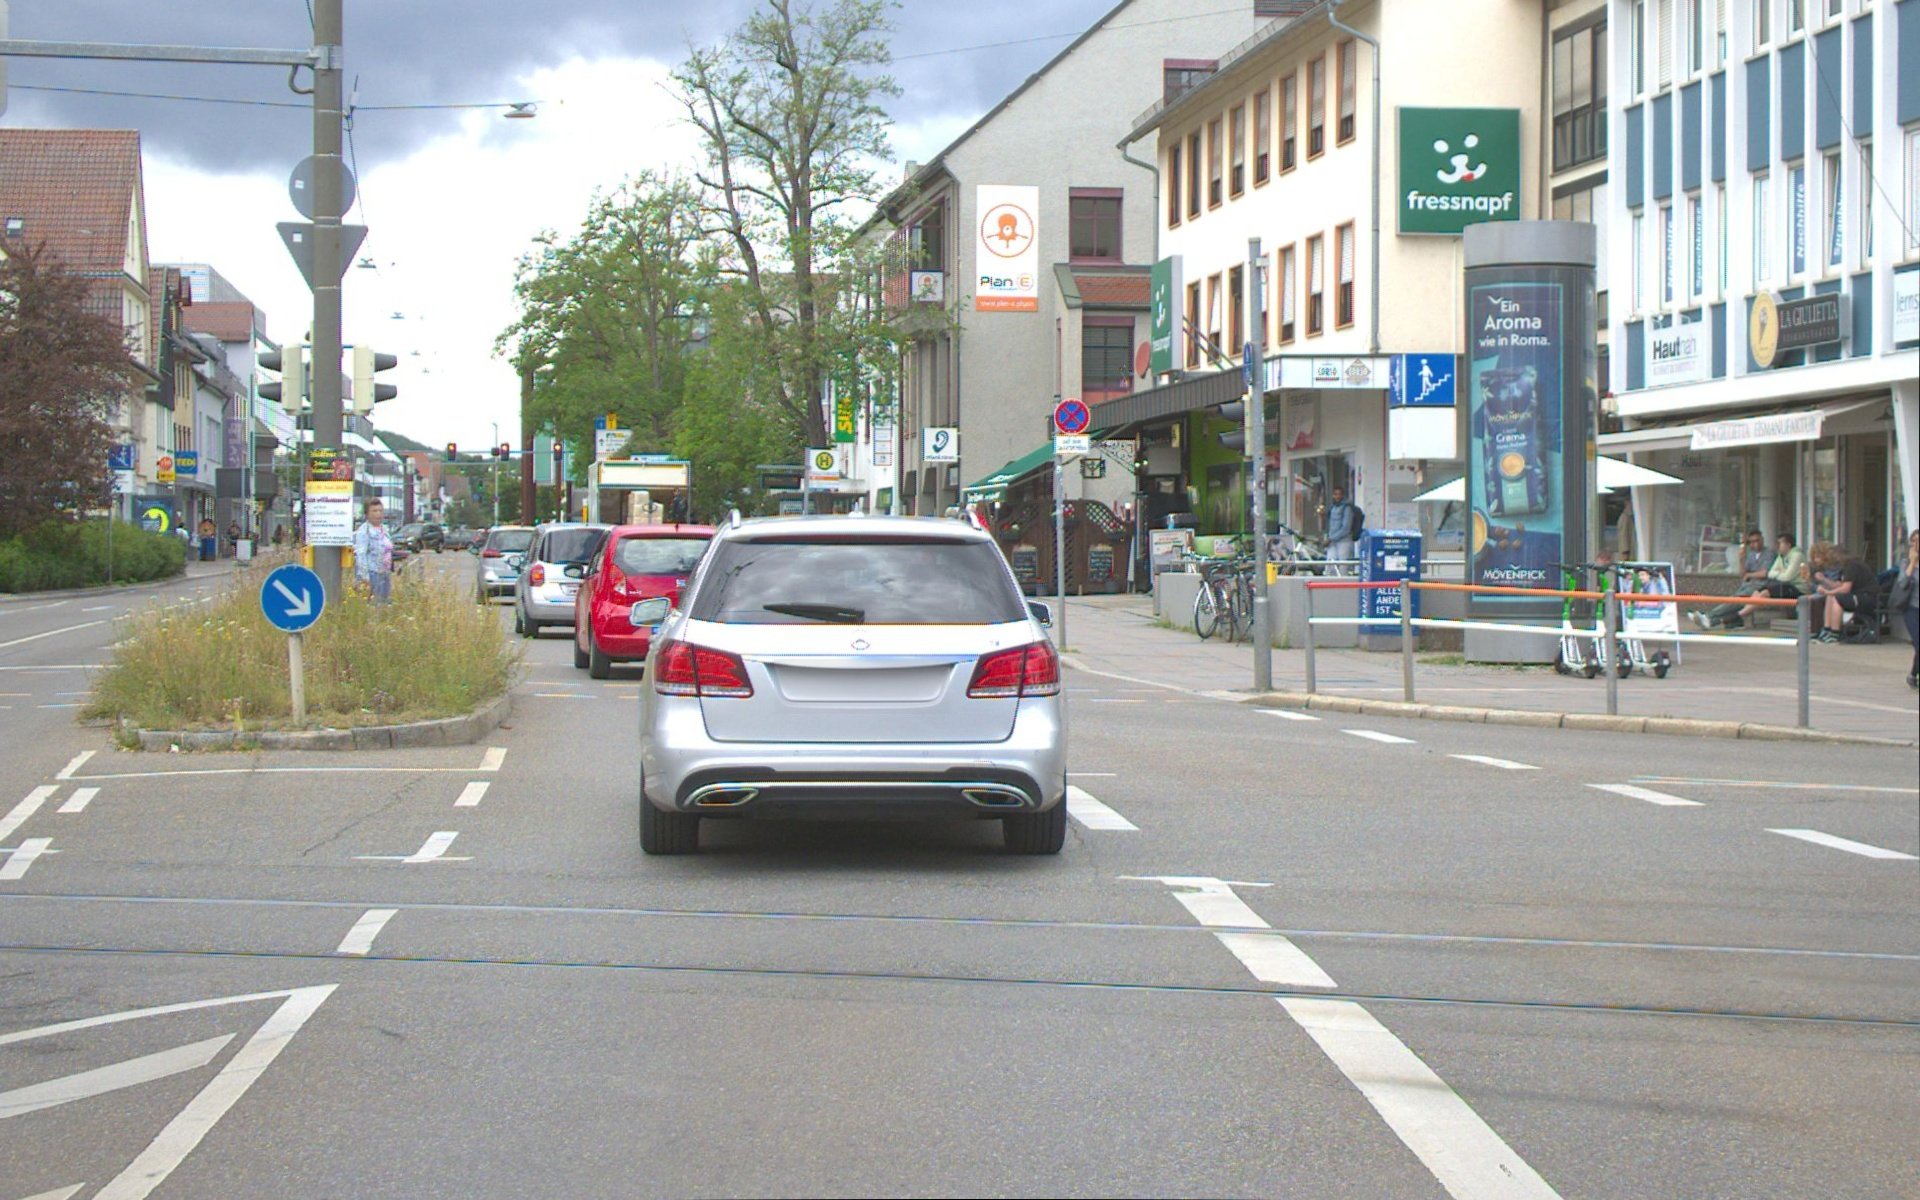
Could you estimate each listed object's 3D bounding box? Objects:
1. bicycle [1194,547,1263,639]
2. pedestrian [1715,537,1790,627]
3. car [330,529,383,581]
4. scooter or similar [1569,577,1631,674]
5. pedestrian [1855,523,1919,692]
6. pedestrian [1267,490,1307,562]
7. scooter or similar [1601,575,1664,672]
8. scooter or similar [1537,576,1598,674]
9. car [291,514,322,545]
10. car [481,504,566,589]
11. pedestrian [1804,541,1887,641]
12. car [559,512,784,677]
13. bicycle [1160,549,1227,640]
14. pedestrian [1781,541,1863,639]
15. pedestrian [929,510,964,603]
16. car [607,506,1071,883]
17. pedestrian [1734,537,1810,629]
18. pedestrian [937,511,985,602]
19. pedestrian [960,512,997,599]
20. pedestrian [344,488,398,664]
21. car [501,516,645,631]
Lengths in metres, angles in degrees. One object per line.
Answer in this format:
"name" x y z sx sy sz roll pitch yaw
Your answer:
"bicycle" 3.356 -0.104 43.078 0.448 1.103 2.150 0 1 -7
"pedestrian" 10.358 -0.241 44.972 0.736 1.160 0.643 1 1 -10
"car" -23.767 -1.785 135.506 1.993 2.007 4.001 0 1 -10
"scooter or similar" 6.741 0.259 36.235 0.271 0.998 1.029 0 1 -11
"pedestrian" 9.132 0.070 32.850 0.640 1.586 0.898 1 1 -28
"pedestrian" 5.605 -1.272 58.956 0.533 1.214 0.580 1 1 -10
"scooter or similar" 7.098 0.241 36.312 0.271 0.998 1.029 0 1 -11
"scooter or similar" 6.383 0.259 36.151 0.271 0.998 1.029 0 1 -11
"car" -43.716 -4.709 230.017 1.993 2.007 4.001 1 1 -11
"car" -9.277 -1.163 73.274 1.734 1.753 4.001 0 1 -7
"pedestrian" 10.580 -0.110 41.074 0.736 1.160 0.643 1 1 -10
"car" -2.875 -0.092 33.548 1.734 1.503 4.001 0 1 -11
"bicycle" 2.911 -0.084 43.022 0.448 1.087 2.150 0 1 -7
"pedestrian" 10.460 -0.124 41.722 0.736 1.160 0.643 1 1 -10
"pedestrian" -0.246 -0.788 62.294 0.578 1.661 0.651 1 1 -2
"car" -0.442 0.327 15.788 1.846 1.503 4.171 0 1 1
"pedestrian" 10.463 -0.217 44.318 0.736 1.160 0.643 1 1 -10
"pedestrian" 0.015 -0.695 54.791 0.577 1.430 0.651 1 1 -14
"pedestrian" 0.312 -0.759 58.598 0.578 1.464 0.651 1 1 2
"pedestrian" -5.935 -0.246 34.642 0.533 1.757 0.580 0 1 -10
"car" -5.355 -0.395 47.235 1.734 1.503 4.001 0 1 -10
